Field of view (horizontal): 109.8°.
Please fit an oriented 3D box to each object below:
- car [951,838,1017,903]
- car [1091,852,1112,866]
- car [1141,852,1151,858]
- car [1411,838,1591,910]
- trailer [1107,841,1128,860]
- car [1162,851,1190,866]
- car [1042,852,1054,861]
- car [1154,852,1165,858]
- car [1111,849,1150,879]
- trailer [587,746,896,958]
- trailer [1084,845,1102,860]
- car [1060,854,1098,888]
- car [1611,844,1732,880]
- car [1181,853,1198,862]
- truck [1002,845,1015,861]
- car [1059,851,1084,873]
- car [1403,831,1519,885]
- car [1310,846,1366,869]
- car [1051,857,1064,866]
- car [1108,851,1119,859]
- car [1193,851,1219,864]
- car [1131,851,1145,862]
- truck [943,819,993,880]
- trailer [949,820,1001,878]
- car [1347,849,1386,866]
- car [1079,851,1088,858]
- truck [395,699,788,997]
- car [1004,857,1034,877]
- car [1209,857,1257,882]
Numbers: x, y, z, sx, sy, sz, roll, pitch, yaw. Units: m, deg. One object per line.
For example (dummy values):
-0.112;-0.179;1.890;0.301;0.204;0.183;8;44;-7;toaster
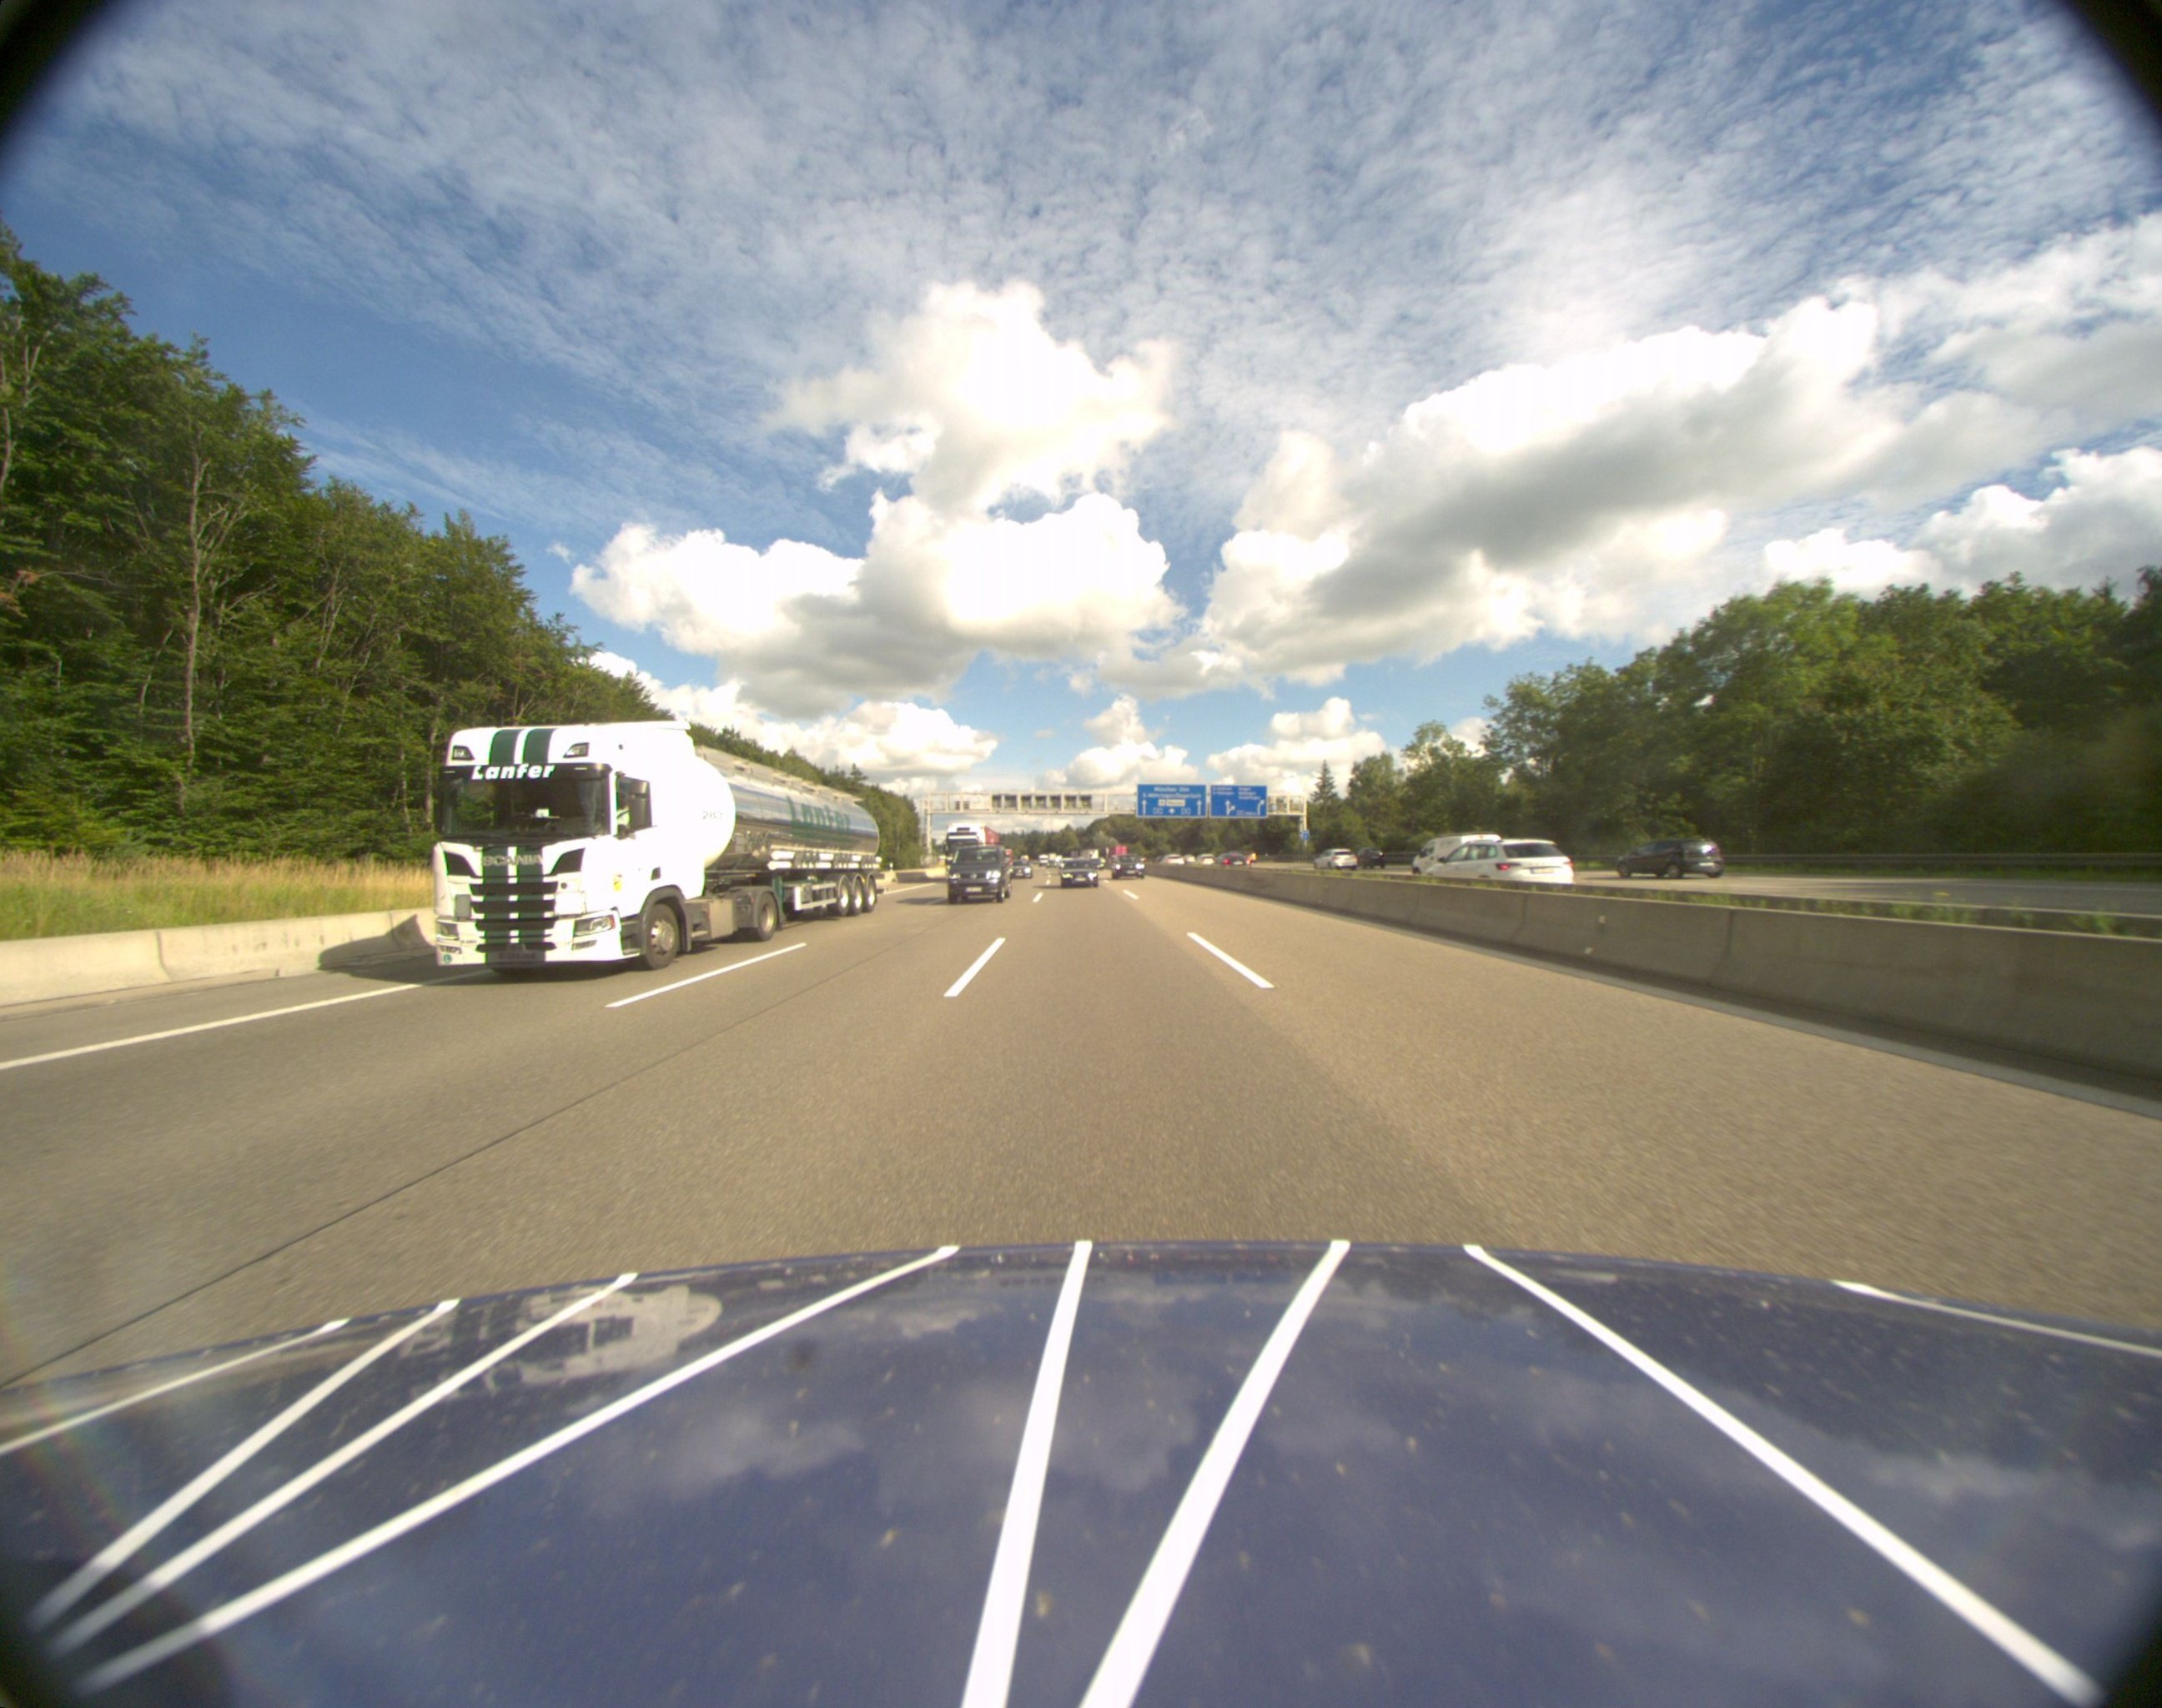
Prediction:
-3.403;0.529;27.515;1.854;2.097;4.931;-2;0;-2;car
2.322;0.553;87.350;2.153;1.540;4.676;-2;0;-1;car
14.164;0.228;165.641;1.706;1.280;3.995;-2;0;-4;car
10.030;0.424;18.652;1.758;1.499;4.679;-2;0;-1;car
8.227;-0.786;172.597;2.747;4.082;13.410;-2;0;-5;trailer
9.192;0.417;73.824;1.999;1.301;4.831;-2;0;-2;car
-7.242;0.561;167.483;2.154;1.806;4.674;-1;0;-8;car
16.976;0.151;163.855;1.706;1.281;4.181;-2;0;-4;car
3.169;0.590;49.387;2.153;1.800;5.098;-2;0;0;car
-7.511;-0.013;19.531;2.656;3.745;11.859;-1;0;0;trailer
3.434;-0.444;218.456;3.328;4.082;14.146;-2;0;-7;trailer
-0.096;0.799;38.174;1.733;1.501;4.727;-2;0;0;car
21.845;0.265;28.286;1.498;1.205;3.788;-2;0;-1;car
19.747;0.670;138.350;1.822;1.536;5.129;-2;0;-4;car
-17.147;-0.107;179.537;3.019;3.662;7.557;-1;0;-6;truck
-0.918;0.695;69.610;2.153;1.800;5.098;-2;0;-2;car
14.445;0.133;29.239;1.999;1.826;4.729;-2;0;-1;car
17.330;0.225;51.511;2.077;1.464;4.670;-2;0;-2;car
-4.168;1.327;134.204;2.153;1.540;4.675;-1;0;-4;car
6.599;0.182;155.014;1.703;1.519;4.682;-1;1;-3;car
12.302;0.366;74.942;1.652;1.193;4.439;-2;0;-3;car
9.410;0.435;125.930;1.703;1.620;4.496;-2;0;-5;car
-7.910;-0.307;53.884;2.781;4.021;5.771;-2;0;-3;truck
-8.189;-0.300;60.380;2.781;4.021;13.709;-2;0;-3;trailer
20.684;0.240;55.097;1.498;1.205;3.269;-2;0;-2;car
0.547;0.045;176.619;1.774;1.639;4.517;-2;0;-4;car
-7.483;-0.069;12.848;2.656;3.801;6.081;-1;0;0;truck
-4.721;0.969;58.673;2.153;1.426;5.097;-2;0;-3;car
9.604;0.946;48.288;1.999;1.382;4.747;-2;0;-1;car
